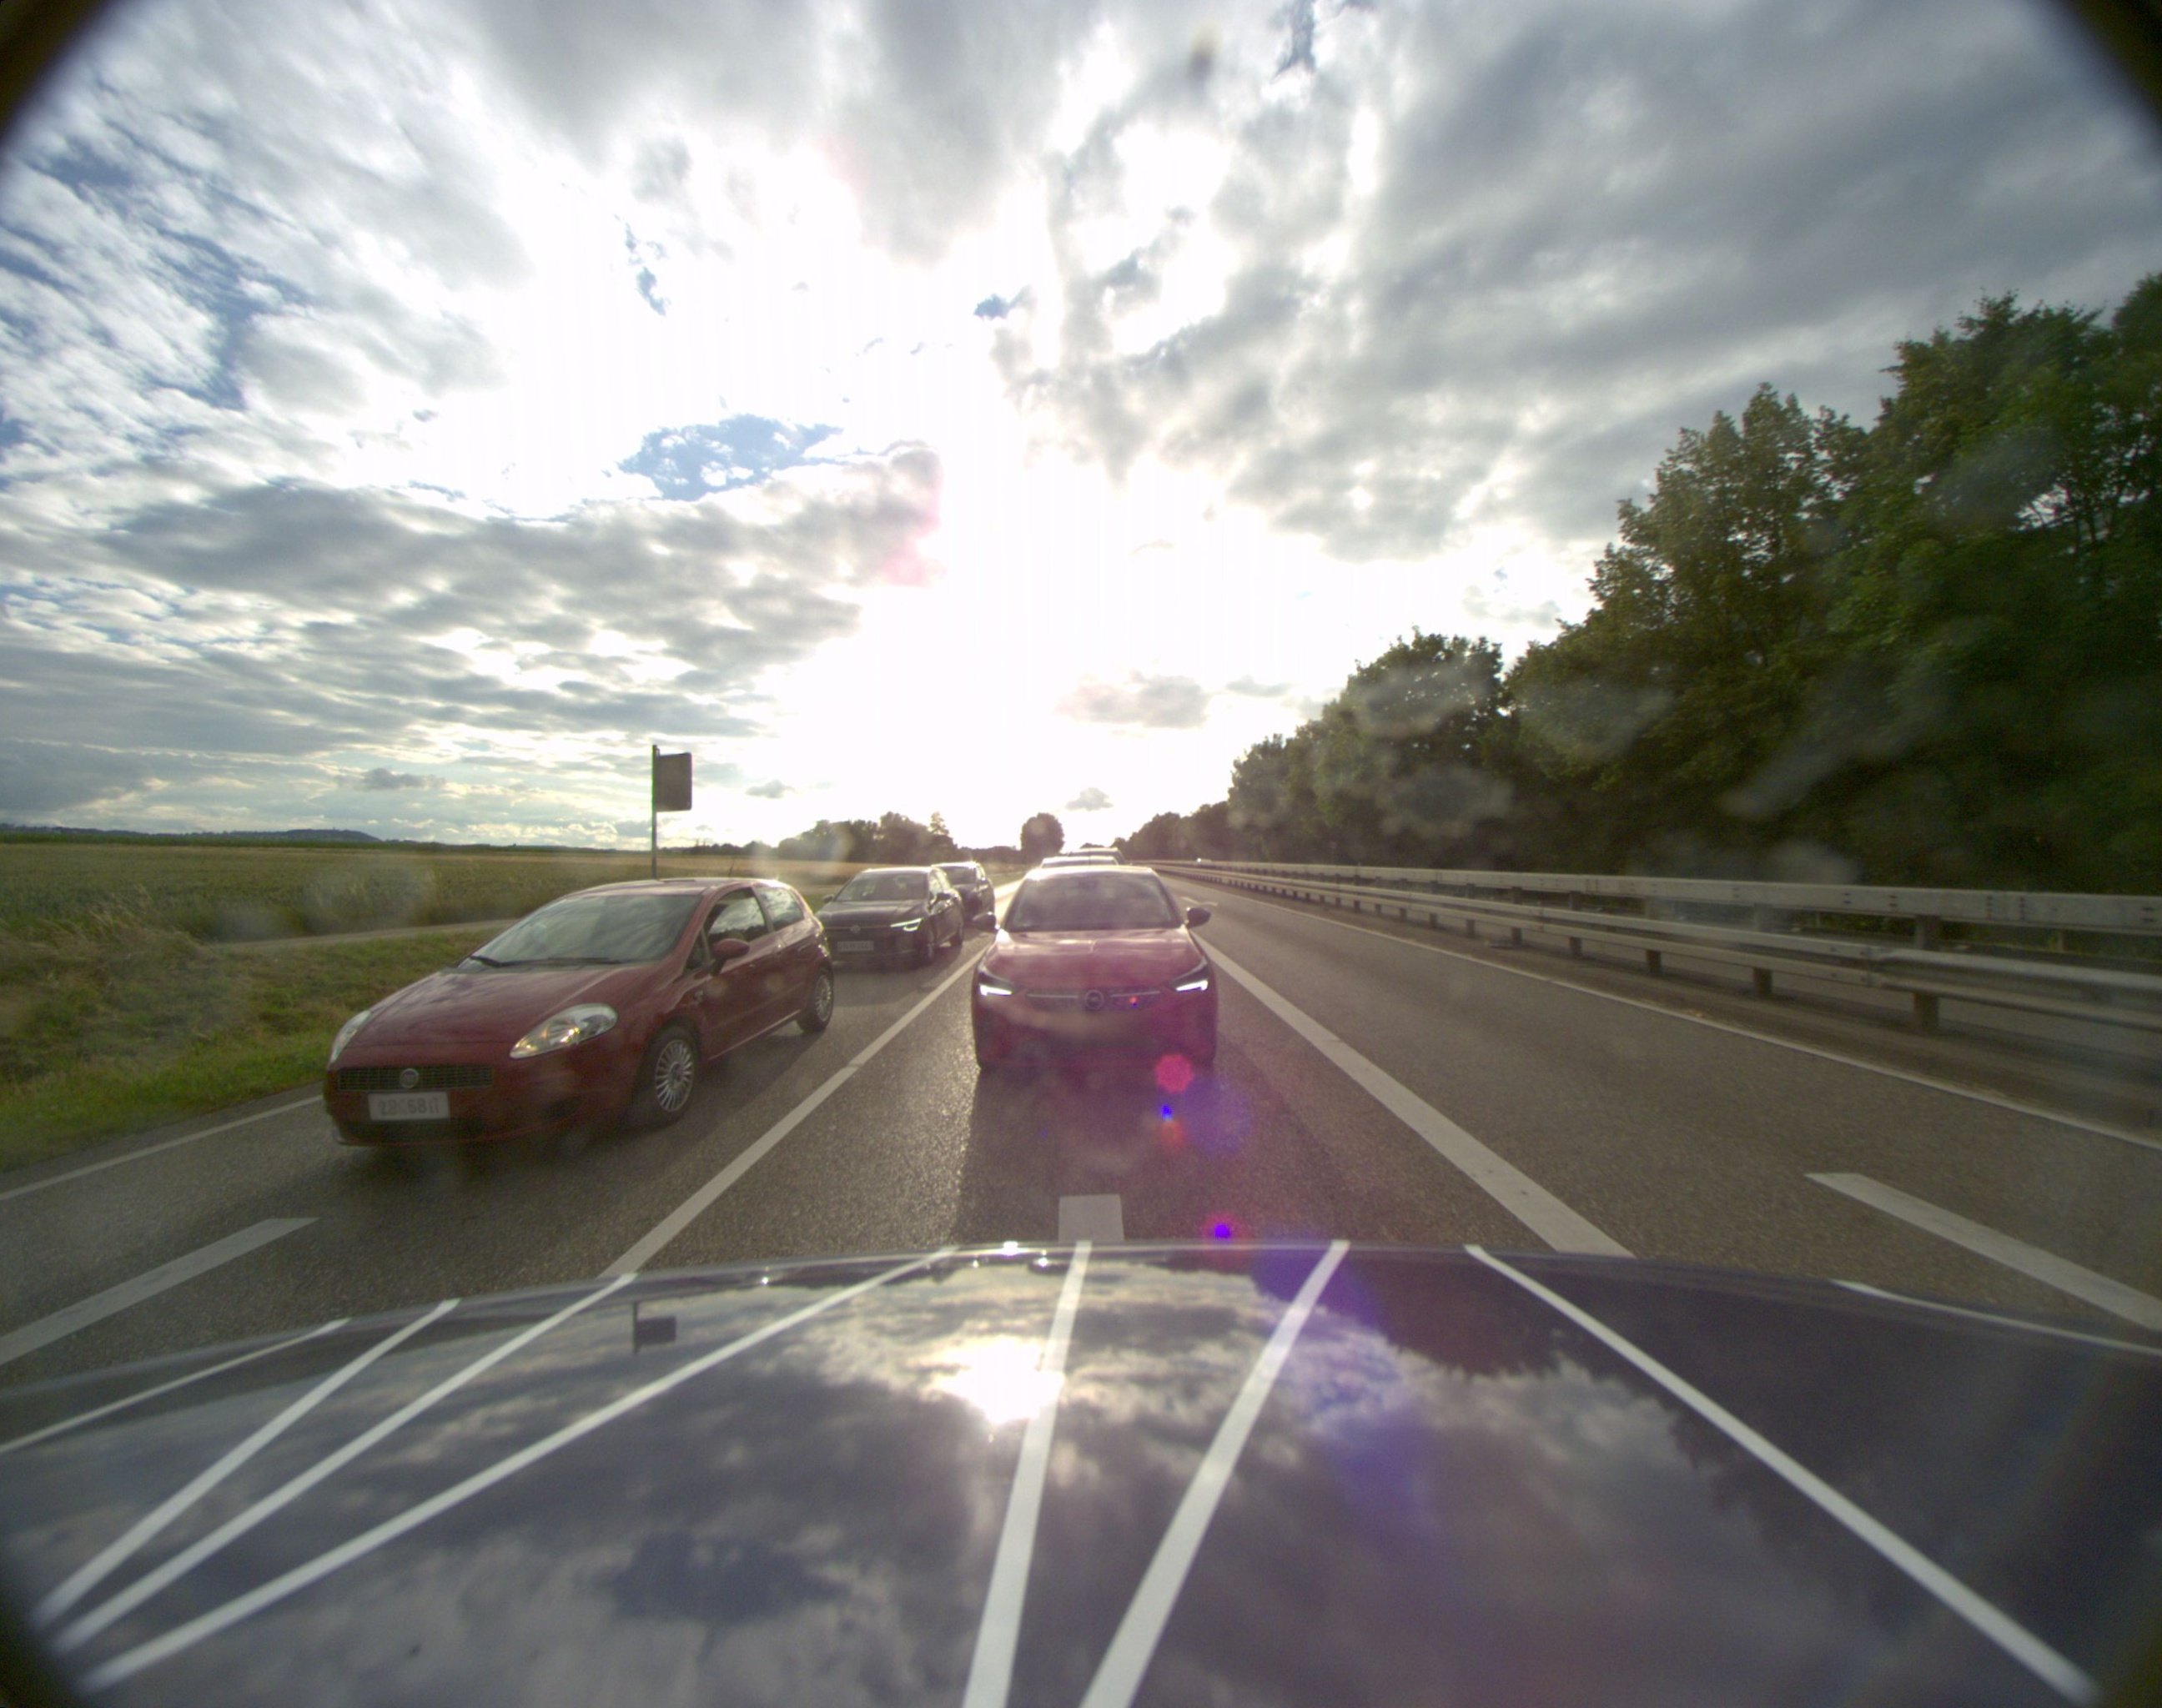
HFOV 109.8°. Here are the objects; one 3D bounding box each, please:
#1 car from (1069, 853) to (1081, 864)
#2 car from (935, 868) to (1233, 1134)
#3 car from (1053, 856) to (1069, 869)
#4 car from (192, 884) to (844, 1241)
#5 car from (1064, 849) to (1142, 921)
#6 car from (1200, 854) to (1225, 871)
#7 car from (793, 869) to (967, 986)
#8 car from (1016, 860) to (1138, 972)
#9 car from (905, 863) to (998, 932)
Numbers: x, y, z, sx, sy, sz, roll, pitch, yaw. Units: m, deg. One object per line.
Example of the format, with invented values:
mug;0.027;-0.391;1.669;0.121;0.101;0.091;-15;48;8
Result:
car;-1.066;0.739;129.739;1.998;1.740;3.999;0;1;1
car;0.075;0.915;6.382;1.723;1.467;3.728;-2;0;2
car;-2.629;1.137;99.812;1.949;1.652;3.999;-1;0;0
car;-3.223;1.048;5.456;1.669;1.467;3.866;-2;0;2
car;0.579;0.730;19.846;1.786;1.624;3.866;-2;0;2
car;14.307;0.908;82.876;1.949;1.652;3.999;-1;0;0
car;-3.026;1.037;12.293;1.723;1.467;3.865;-2;0;0
car;-0.052;0.919;13.030;1.758;1.543;3.999;0;0;0
car;-3.110;1.002;18.890;1.631;1.467;3.474;-2;0;1
